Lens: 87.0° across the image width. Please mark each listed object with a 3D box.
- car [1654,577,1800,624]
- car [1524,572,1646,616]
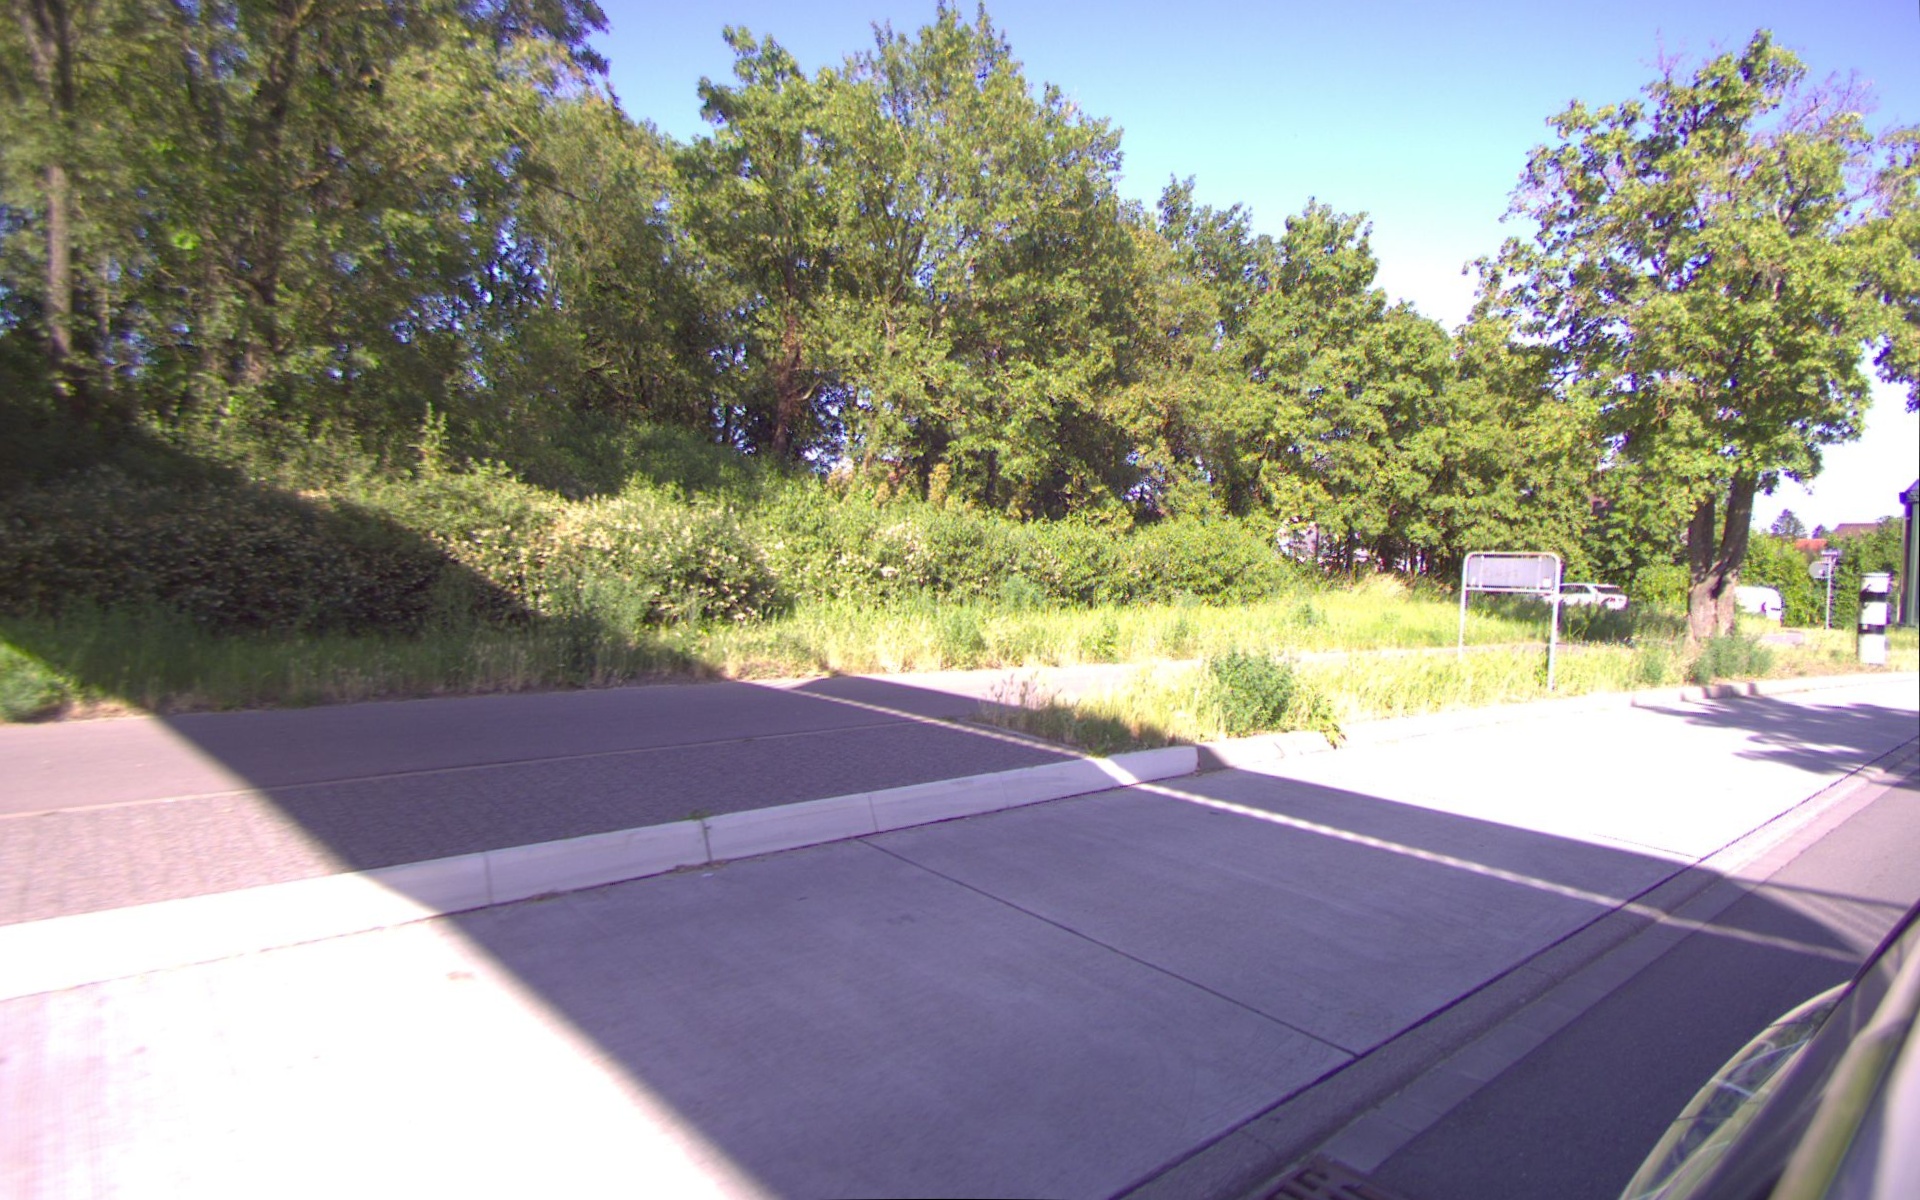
[{"bbox_3d":[33.431,-0.016,44.251,1.894,1.824,4.650,3,1,-32],"label":"car"},{"bbox_3d":[30.212,-0.304,49.064,2.031,1.892,4.536,3,1,-32],"label":"car"}]
